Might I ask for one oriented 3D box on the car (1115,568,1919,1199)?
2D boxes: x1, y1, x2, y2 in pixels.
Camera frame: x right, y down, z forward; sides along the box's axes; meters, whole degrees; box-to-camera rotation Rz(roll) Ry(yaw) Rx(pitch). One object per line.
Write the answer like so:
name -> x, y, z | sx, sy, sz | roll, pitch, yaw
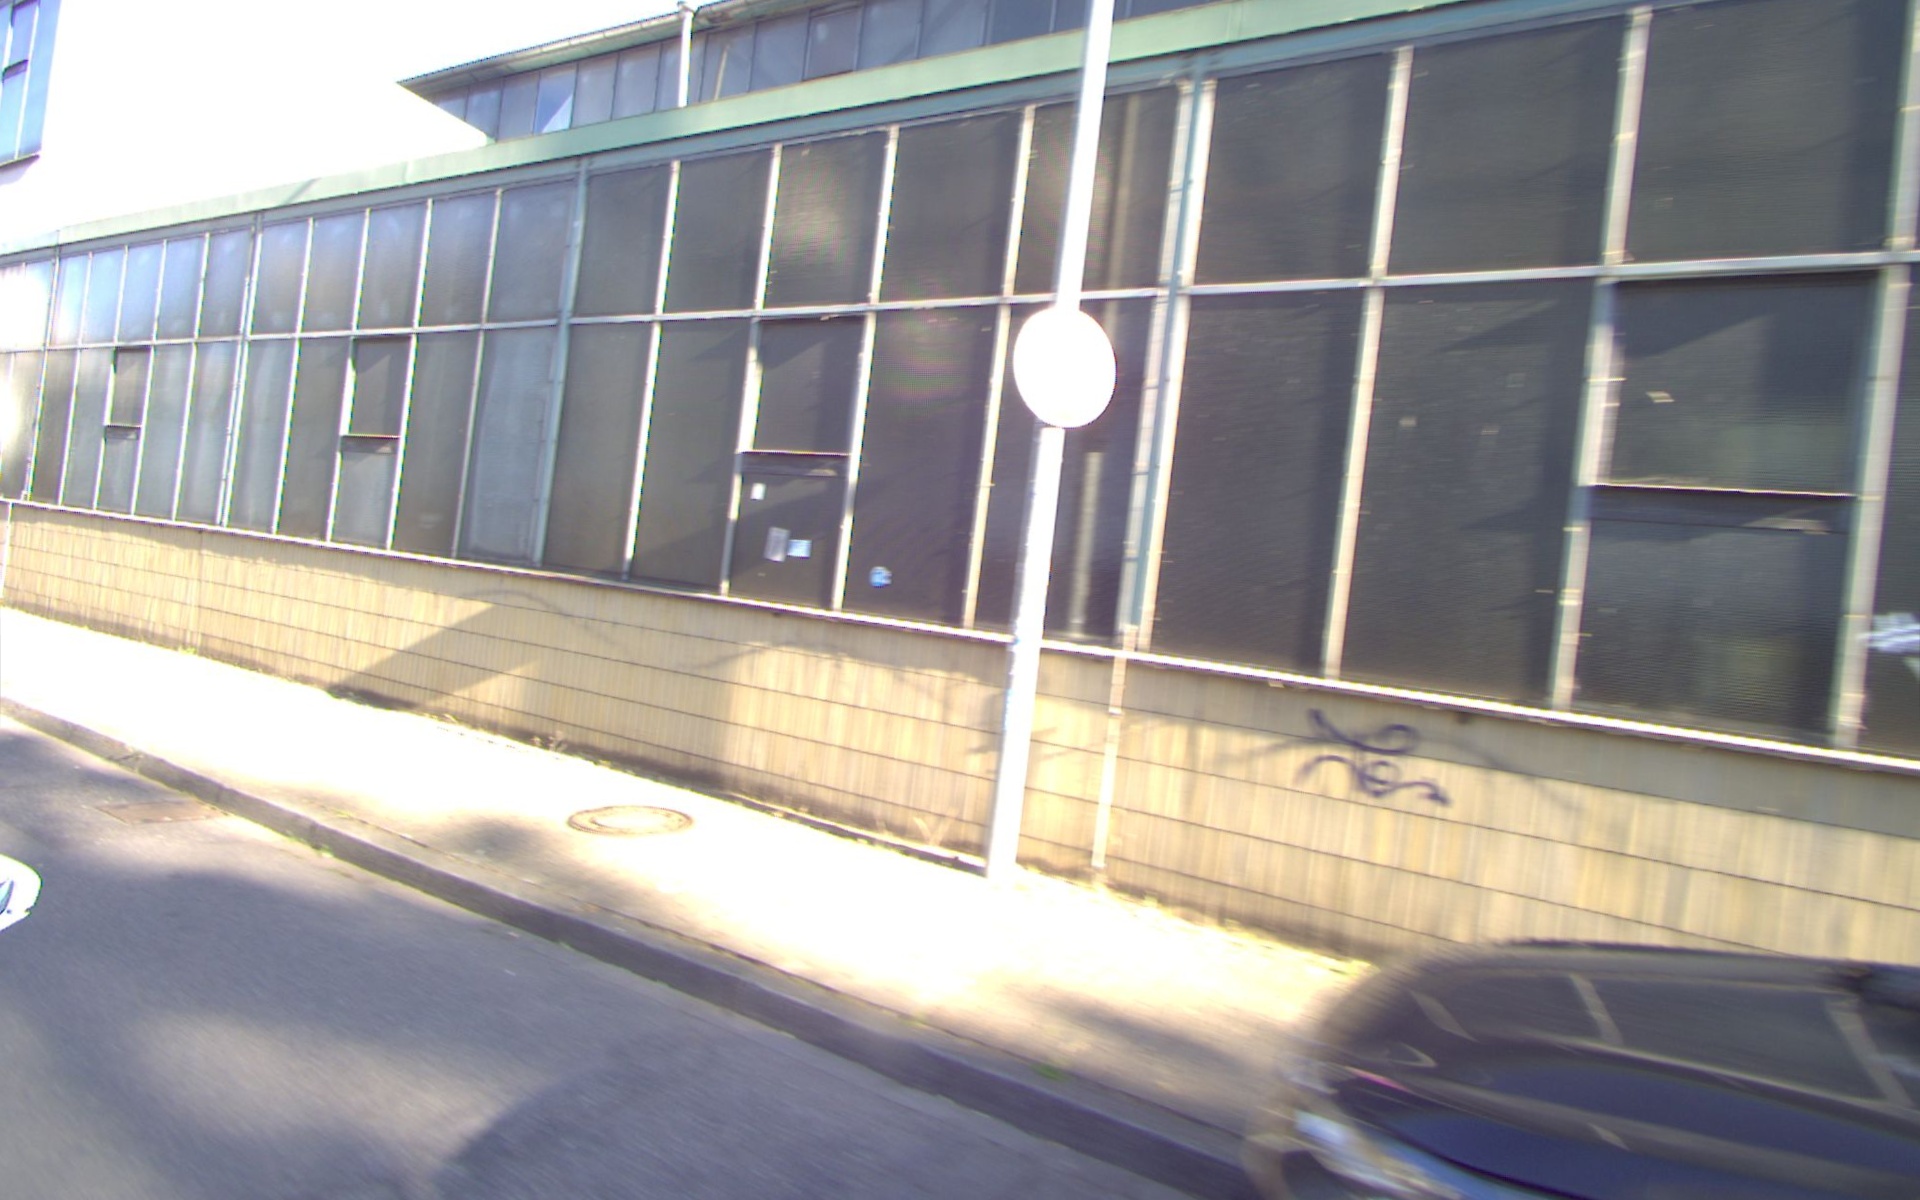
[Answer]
car -> 2.491, 1.071, 0.995 | 4.329, 1.604, 1.813 | 6, -4, 28
